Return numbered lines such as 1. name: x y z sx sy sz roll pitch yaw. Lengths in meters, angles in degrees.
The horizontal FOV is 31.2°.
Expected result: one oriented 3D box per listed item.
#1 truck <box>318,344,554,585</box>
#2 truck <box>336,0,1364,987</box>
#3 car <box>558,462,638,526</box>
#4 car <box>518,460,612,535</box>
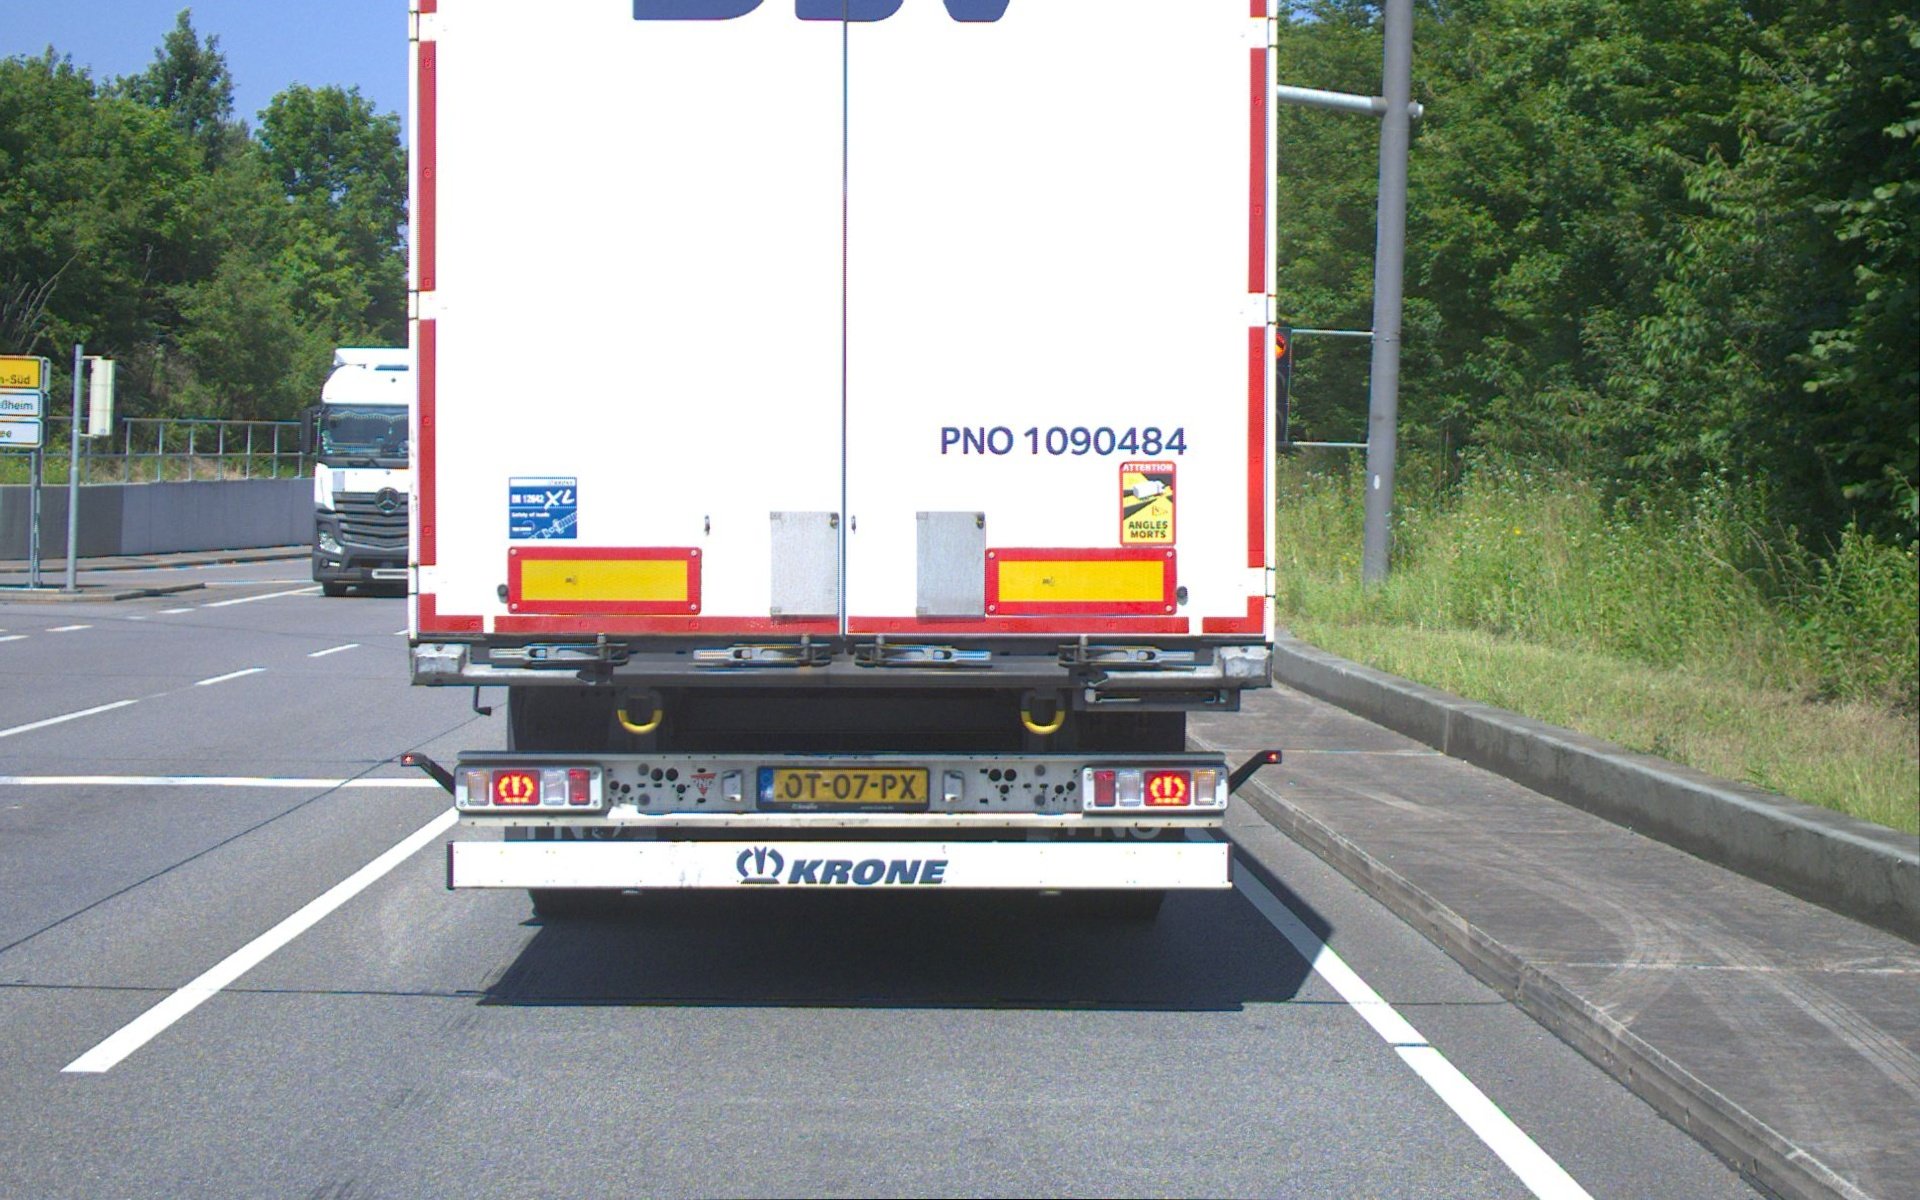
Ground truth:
1. truck: -8.939 -2.342 60.044 2.353 3.737 12.627 1 2 -1
2. truck: -0.461 -1.298 14.904 2.949 4.553 9.864 1 2 -2
3. car: -9.455 -2.793 90.033 1.747 1.620 3.704 1 2 -1
4. car: -8.816 -2.309 76.961 1.747 1.620 3.704 1 2 -1
